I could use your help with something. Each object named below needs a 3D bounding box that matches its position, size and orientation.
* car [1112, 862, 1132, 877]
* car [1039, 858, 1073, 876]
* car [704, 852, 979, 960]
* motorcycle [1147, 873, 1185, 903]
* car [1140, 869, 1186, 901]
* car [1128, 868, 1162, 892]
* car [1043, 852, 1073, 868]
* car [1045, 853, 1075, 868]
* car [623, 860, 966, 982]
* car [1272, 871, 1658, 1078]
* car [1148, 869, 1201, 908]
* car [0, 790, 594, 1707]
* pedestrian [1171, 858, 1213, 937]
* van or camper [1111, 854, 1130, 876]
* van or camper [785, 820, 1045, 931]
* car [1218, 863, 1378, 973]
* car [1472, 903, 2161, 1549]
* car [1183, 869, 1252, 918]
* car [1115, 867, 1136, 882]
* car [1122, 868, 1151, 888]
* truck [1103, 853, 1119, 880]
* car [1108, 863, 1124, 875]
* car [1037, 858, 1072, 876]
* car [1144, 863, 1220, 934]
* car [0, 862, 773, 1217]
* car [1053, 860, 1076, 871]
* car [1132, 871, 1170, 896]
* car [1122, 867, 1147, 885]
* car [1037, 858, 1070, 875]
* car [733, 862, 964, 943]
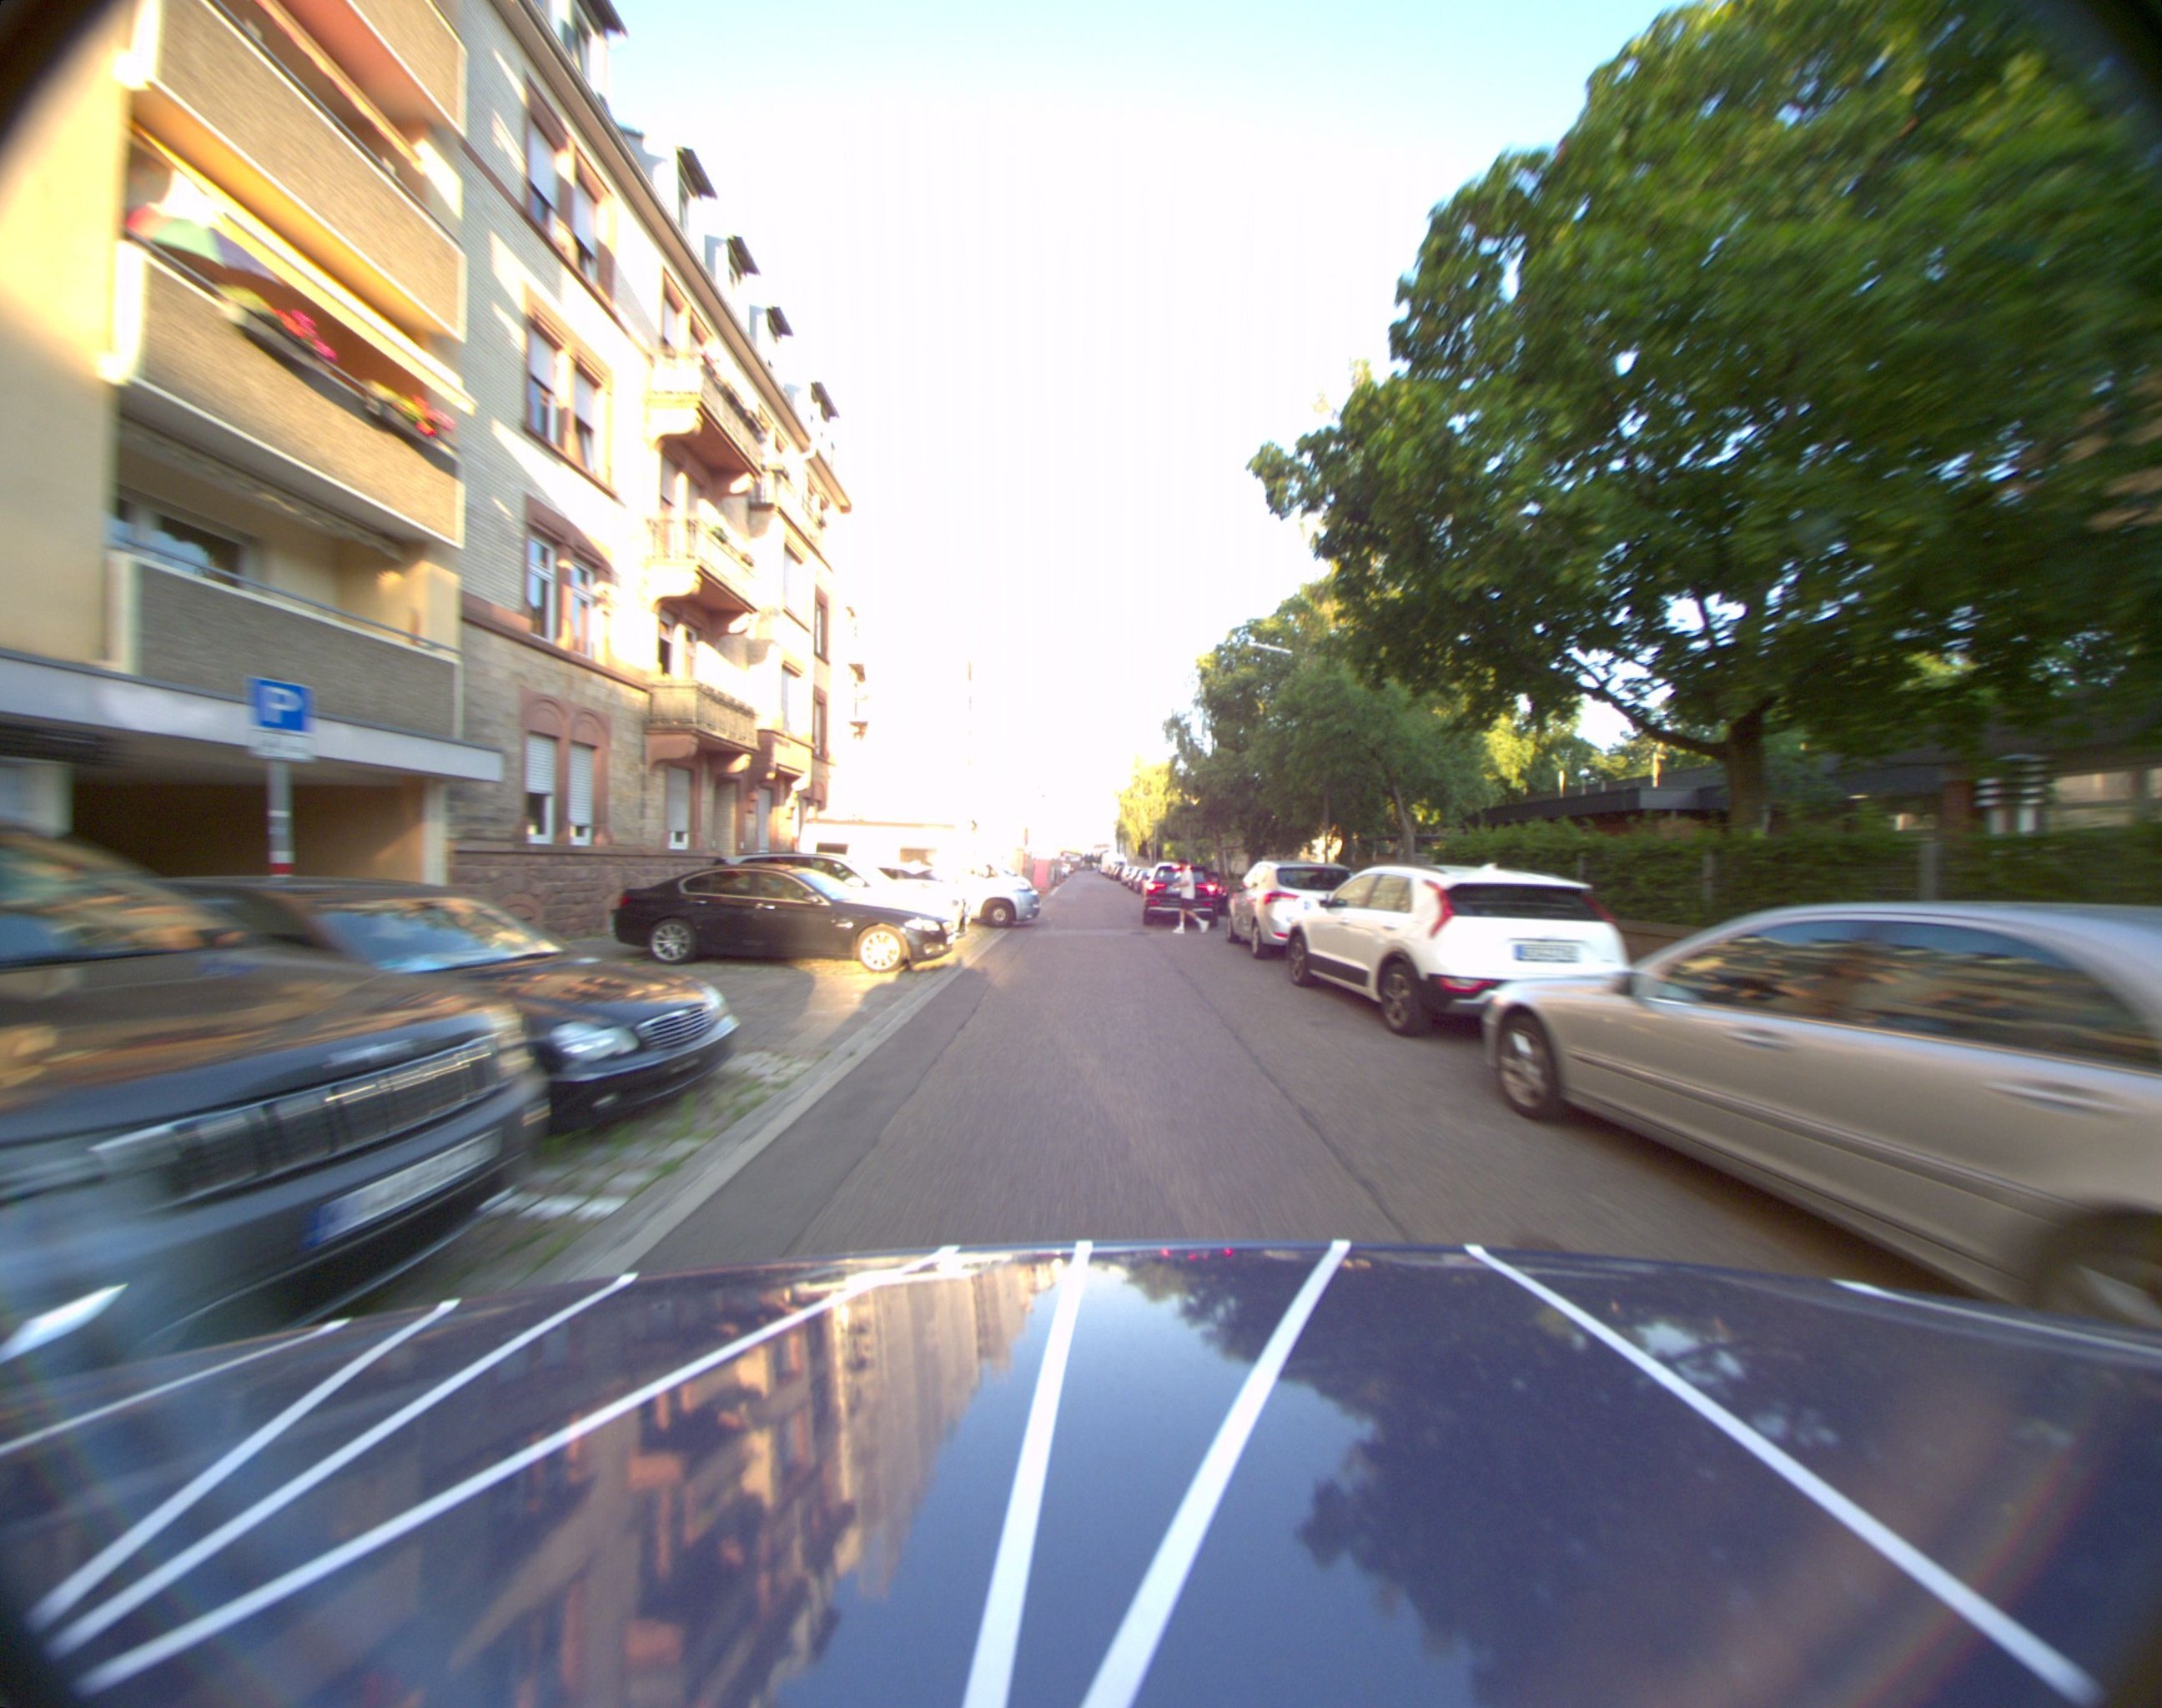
[{"bbox_3d":[4.303,1.604,80.168,1.738,1.502,4.291,1,-1,0],"label":"car"},{"bbox_3d":[-3.010,1.525,90.980,3.997,2.002,2.000,-1,0,0],"label":"car"},{"bbox_3d":[-4.239,0.896,13.936,4.414,1.738,1.846,1,0,2],"label":"car"},{"bbox_3d":[3.742,1.491,33.519,1.596,1.251,0.785,-1,0,3],"label":"motorcycle"},{"bbox_3d":[3.904,1.446,36.558,1.738,1.417,3.805,1,-1,0],"label":"car"},{"bbox_3d":[3.963,1.604,47.451,1.738,1.358,3.805,1,-1,0],"label":"car"},{"bbox_3d":[-3.047,0.798,101.935,3.997,2.002,2.000,-1,0,0],"label":"car"},{"bbox_3d":[-2.893,0.929,105.190,3.997,2.002,2.000,-1,0,0],"label":"car"},{"bbox_3d":[-4.098,0.933,11.393,4.414,1.545,1.846,1,1,1],"label":"car"},{"bbox_3d":[3.530,0.988,8.035,1.763,1.533,4.280,1,-1,-2],"label":"car"},{"bbox_3d":[3.747,1.364,30.973,1.738,1.438,3.805,1,-1,1],"label":"car"},{"bbox_3d":[-4.171,0.767,2.022,4.524,1.852,1.846,1,0,0],"label":"car"},{"bbox_3d":[2.440,0.950,16.780,0.748,1.692,0.558,-3,0,-3],"label":"pedestrian"},{"bbox_3d":[4.367,1.242,85.350,1.825,2.400,4.291,1,-1,0],"label":"van or camper"},{"bbox_3d":[-4.049,0.523,19.322,6.074,2.489,2.050,2,0,1],"label":"van or camper"},{"bbox_3d":[3.618,0.985,13.408,1.738,1.621,3.981,1,-1,1],"label":"car"},{"bbox_3d":[3.494,1.022,2.815,1.738,1.418,4.286,1,-1,-2],"label":"car"},{"bbox_3d":[4.322,1.220,24.543,1.623,1.417,3.416,1,-1,1],"label":"car"},{"bbox_3d":[4.243,1.999,73.527,1.738,1.358,4.291,1,-1,0],"label":"car"},{"bbox_3d":[4.047,1.738,55.931,1.738,1.358,4.291,1,-1,0],"label":"car"},{"bbox_3d":[4.360,1.764,112.353,2.182,3.859,4.927,-1,0,1],"label":"truck"},{"bbox_3d":[4.275,1.829,94.558,1.738,1.502,4.291,1,-1,0],"label":"car"},{"bbox_3d":[-3.072,1.516,88.761,3.997,2.002,2.000,-1,0,0],"label":"car"},{"bbox_3d":[2.648,1.079,19.910,1.736,1.621,4.129,1,-1,8],"label":"car"},{"bbox_3d":[-4.479,0.907,4.659,4.413,1.545,1.845,1,2,3],"label":"car"},{"bbox_3d":[-2.975,2.048,134.462,3.997,2.002,2.000,-1,0,0],"label":"car"},{"bbox_3d":[3.867,1.613,42.353,1.738,1.280,3.805,1,-1,0],"label":"car"},{"bbox_3d":[4.331,1.733,61.912,1.738,1.358,4.291,1,-1,0],"label":"car"},{"bbox_3d":[-3.345,1.543,93.531,3.997,2.002,2.000,-1,0,0],"label":"car"},{"bbox_3d":[-4.907,1.015,16.473,4.414,1.609,1.846,-1,0,2],"label":"car"}]
